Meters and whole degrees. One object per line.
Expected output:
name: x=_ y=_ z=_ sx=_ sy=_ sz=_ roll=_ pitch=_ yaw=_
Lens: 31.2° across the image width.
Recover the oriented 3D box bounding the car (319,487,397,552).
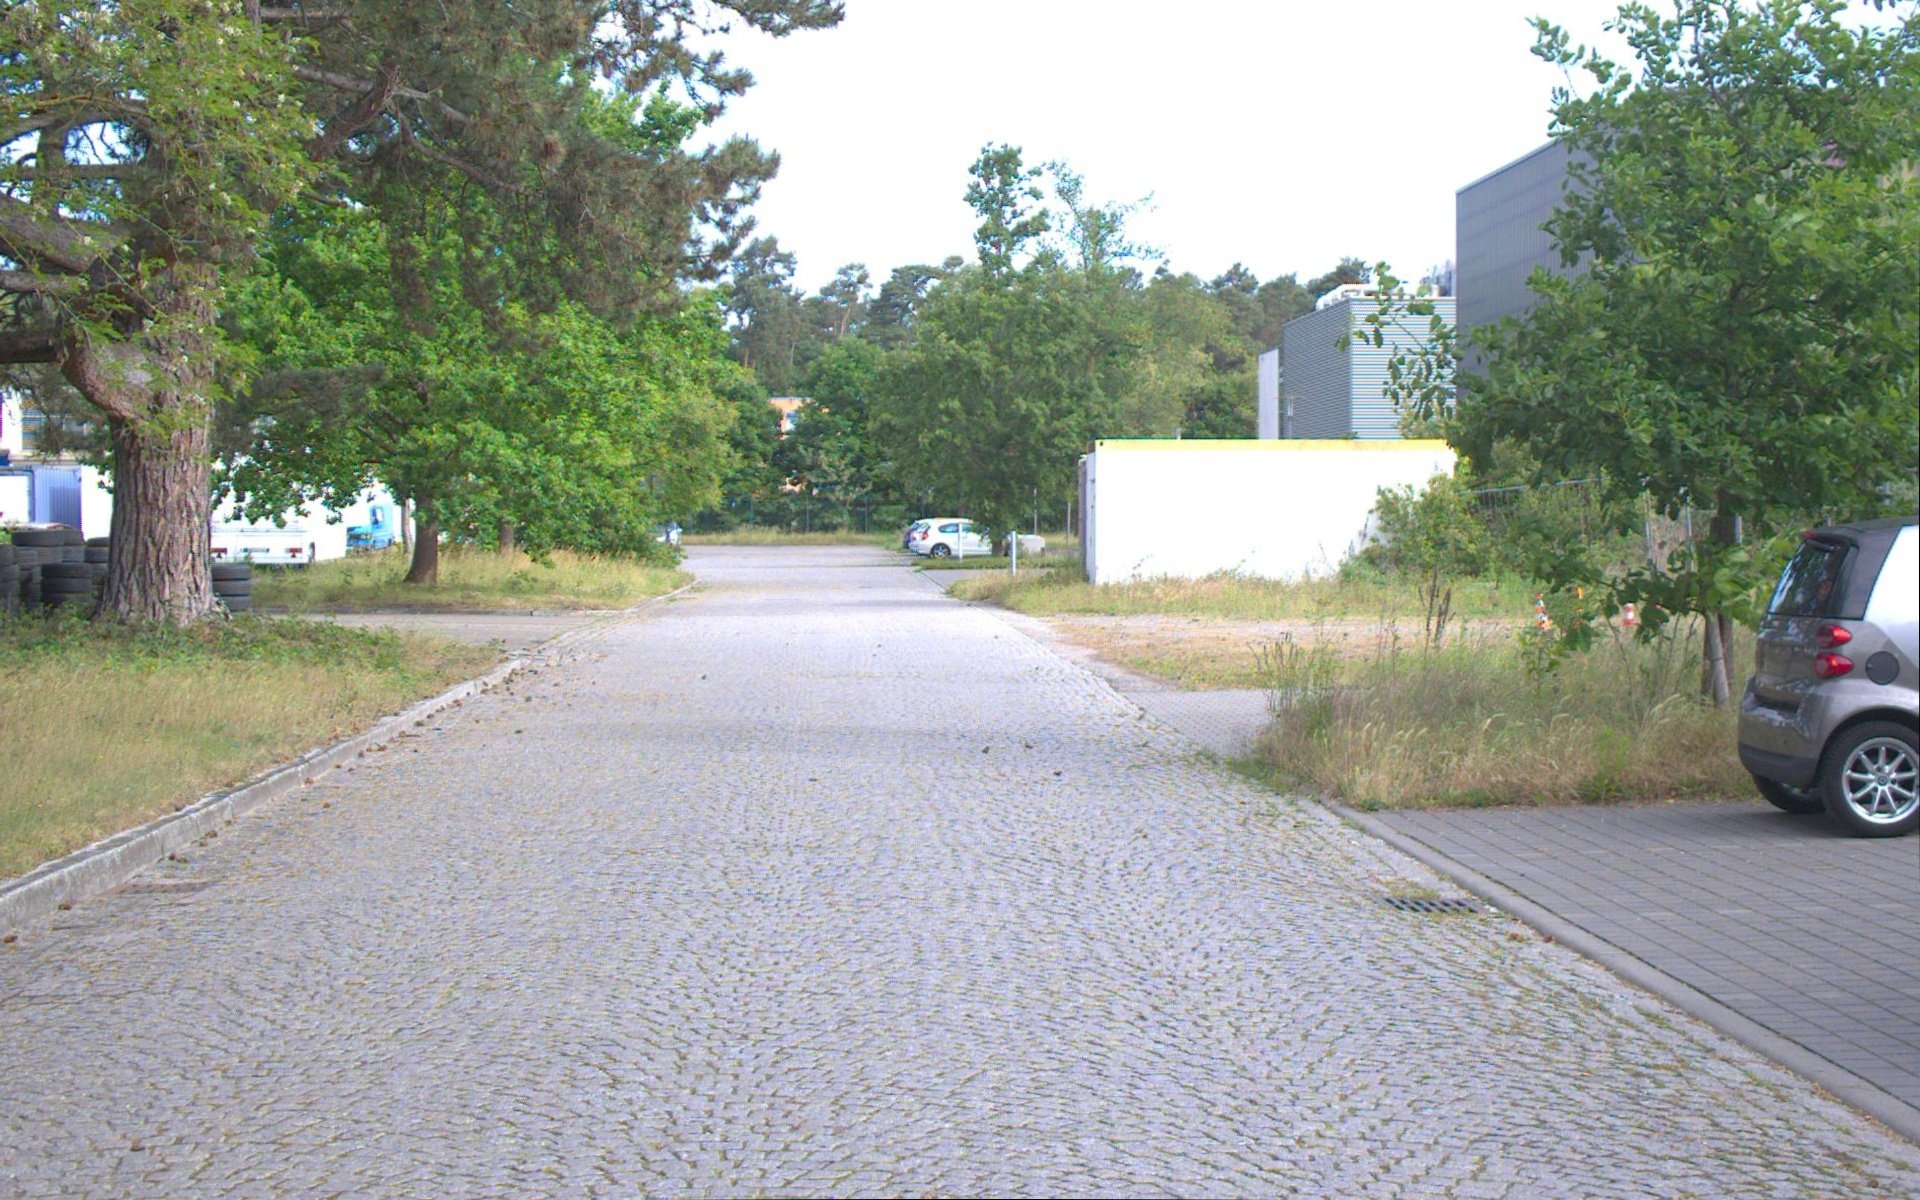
car: x=-23.831 y=-3.200 z=136.240 sx=1.993 sy=2.514 sz=5.618 roll=0 pitch=1 yaw=1

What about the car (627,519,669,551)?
car: x=-13.432 y=-2.822 z=148.121 sx=1.748 sy=1.359 sz=4.001 roll=0 pitch=1 yaw=-5

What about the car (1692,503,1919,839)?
car: x=5.313 y=0.291 z=17.478 sx=2.741 sy=1.576 sz=1.683 roll=-2 pitch=2 yaw=-2

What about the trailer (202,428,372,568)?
trailer: x=-18.755 y=-2.834 z=96.543 sx=2.656 sy=3.693 sz=10.722 roll=0 pitch=1 yaw=0

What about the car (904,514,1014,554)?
car: x=-0.053 y=-2.447 z=126.854 sx=3.986 sy=1.450 sz=1.697 roll=0 pitch=1 yaw=-2

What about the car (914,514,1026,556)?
car: x=0.336 y=-2.353 z=124.698 sx=3.986 sy=1.450 sz=2.000 roll=0 pitch=1 yaw=-2

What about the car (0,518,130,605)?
car: x=-15.675 y=-0.677 z=58.540 sx=1.824 sy=1.427 sz=4.218 roll=0 pitch=1 yaw=4
